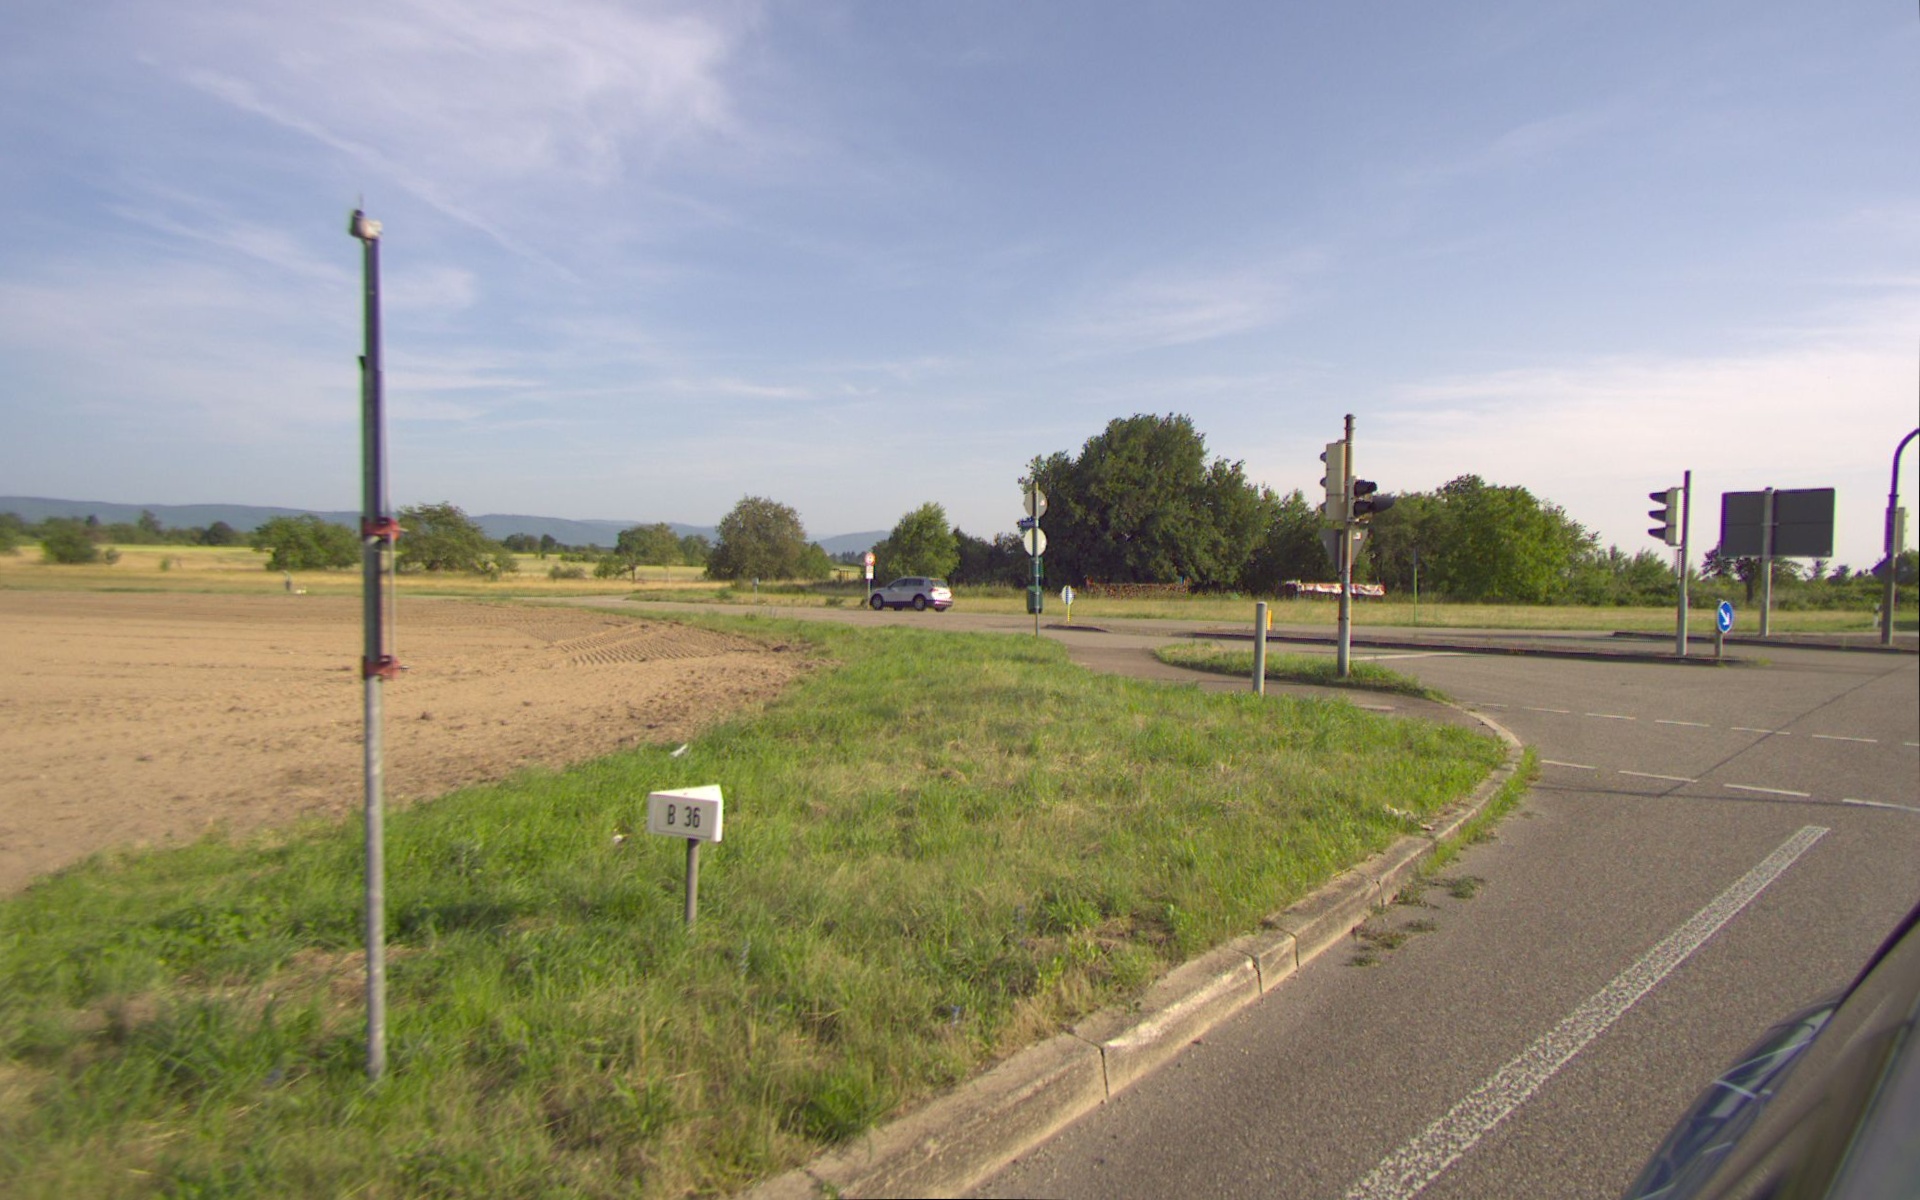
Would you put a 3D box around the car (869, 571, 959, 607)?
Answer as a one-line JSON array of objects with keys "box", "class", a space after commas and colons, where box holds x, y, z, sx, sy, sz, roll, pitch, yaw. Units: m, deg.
[{"box": [-2.203, -0.520, 48.428, 3.973, 1.671, 1.975, 0, 1, 35], "class": "car"}]
